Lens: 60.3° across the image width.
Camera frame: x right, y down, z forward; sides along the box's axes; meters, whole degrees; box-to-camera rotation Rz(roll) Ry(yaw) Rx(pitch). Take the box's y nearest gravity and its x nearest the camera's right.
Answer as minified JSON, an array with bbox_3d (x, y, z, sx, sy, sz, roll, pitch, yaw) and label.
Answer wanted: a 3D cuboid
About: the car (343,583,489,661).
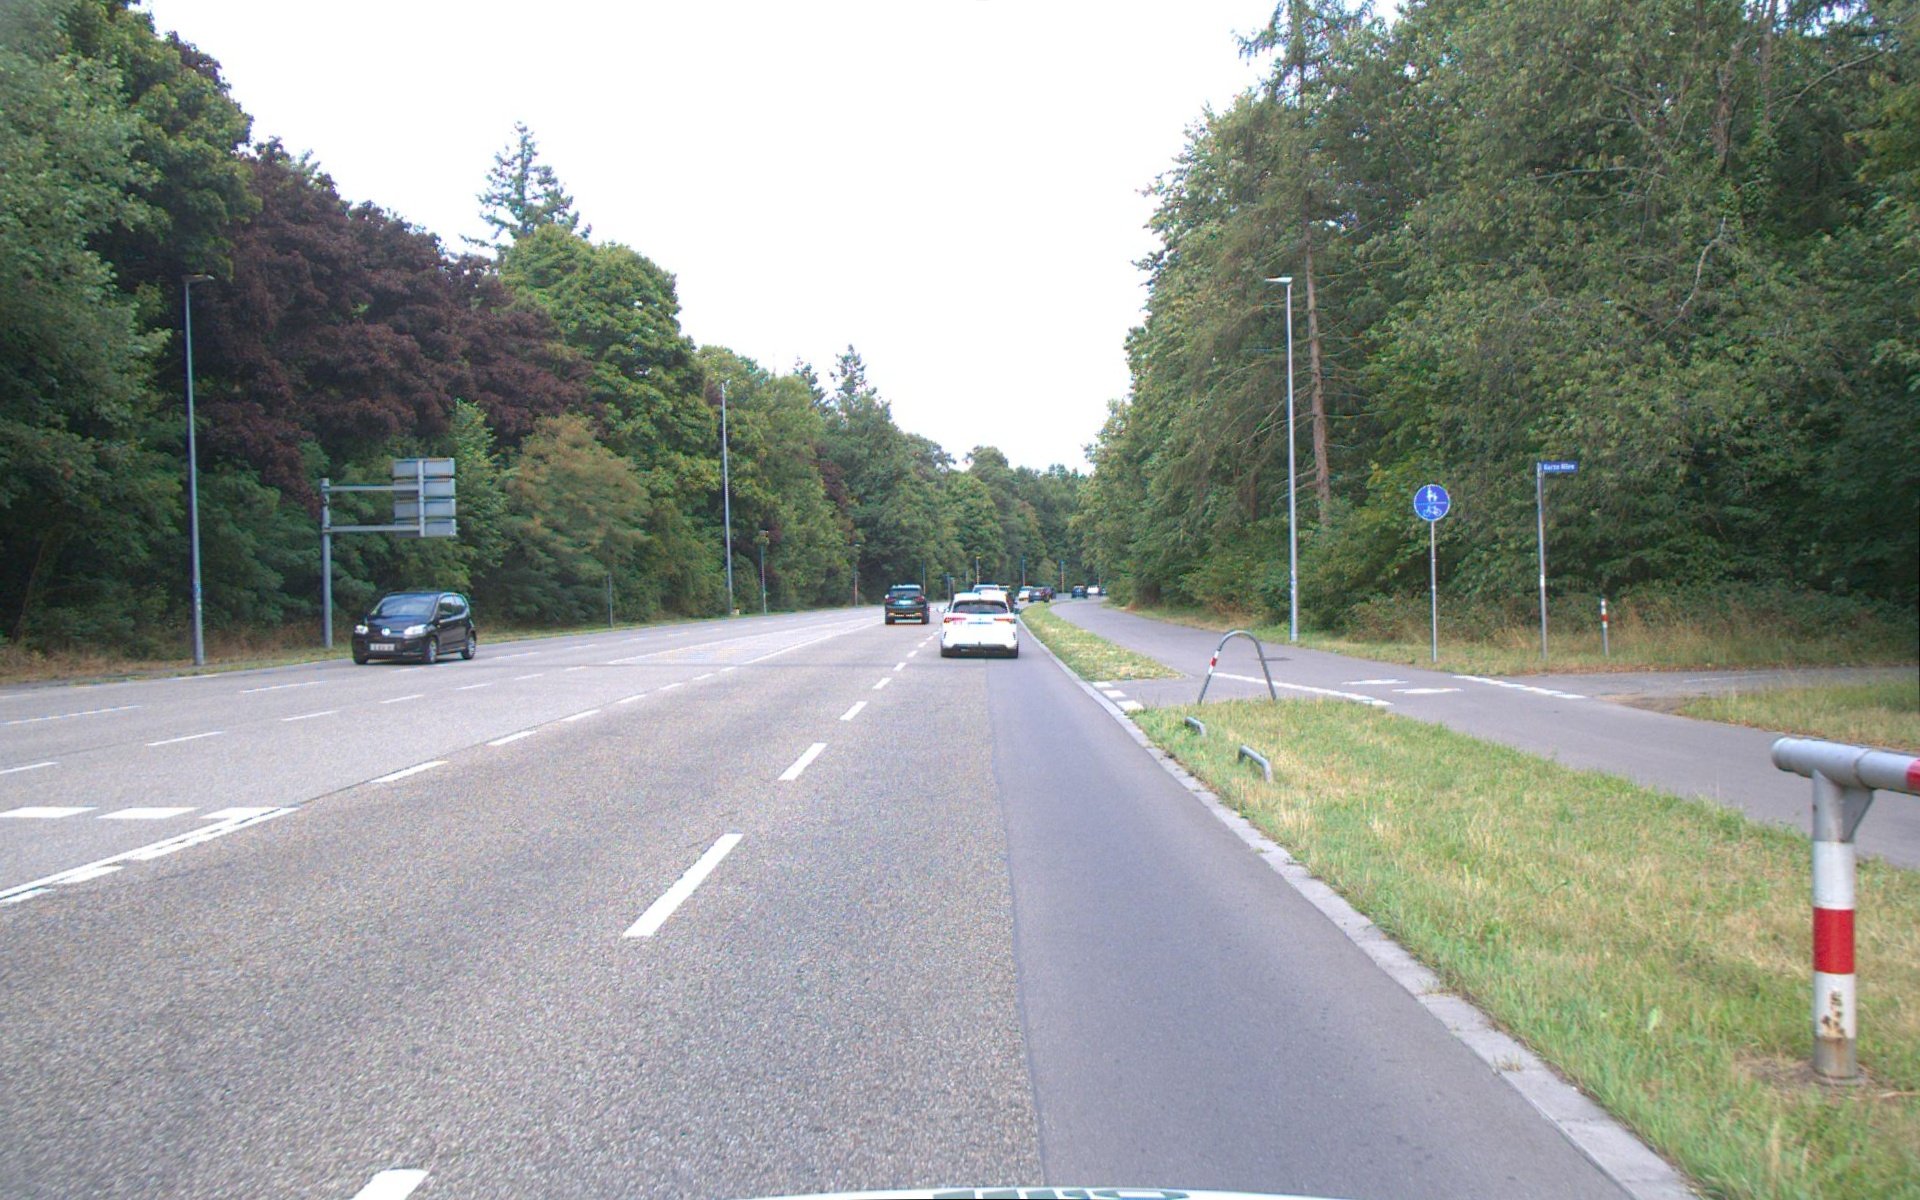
[{"bbox_3d":[-11.378,0.446,34.852,1.705,1.501,4.000,2,0,0],"label":"car"}]

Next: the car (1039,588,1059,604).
[{"bbox_3d":[10.590,-0.469,197.156,1.951,1.814,4.003,2,0,9],"label":"car"}]

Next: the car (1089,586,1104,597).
[{"bbox_3d":[19.146,-1.208,232.385,1.951,1.434,4.002,2,0,6],"label":"car"}]

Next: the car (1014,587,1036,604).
[{"bbox_3d":[7.069,-0.480,180.206,1.951,1.814,4.003,2,0,8],"label":"car"}]

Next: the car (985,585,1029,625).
[{"bbox_3d":[1.818,0.200,63.317,1.601,1.445,4.001,2,0,3],"label":"car"}]

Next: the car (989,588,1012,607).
[{"bbox_3d":[3.901,-0.237,159.544,1.951,1.814,4.002,2,0,5],"label":"car"}]

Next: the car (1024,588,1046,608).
[{"bbox_3d":[7.381,-0.182,162.509,1.951,1.814,4.003,2,0,6],"label":"car"}]

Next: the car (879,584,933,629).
[{"bbox_3d":[-2.294,0.277,70.763,1.952,1.818,4.001,2,0,2],"label":"car"}]

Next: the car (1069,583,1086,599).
[{"bbox_3d":[14.654,-1.094,206.508,1.951,1.814,4.002,2,0,5],"label":"car"}]

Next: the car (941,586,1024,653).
[{"bbox_3d":[0.499,0.429,38.202,1.798,1.435,4.490,-1,0,0],"label":"car"}]

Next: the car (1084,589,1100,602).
[{"bbox_3d":[19.736,-0.624,246.946,1.848,1.847,4.003,1,0,13],"label":"car"}]

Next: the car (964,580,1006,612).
[{"bbox_3d":[1.325,-0.242,88.270,1.954,1.635,3.998,2,0,-3],"label":"car"}]
